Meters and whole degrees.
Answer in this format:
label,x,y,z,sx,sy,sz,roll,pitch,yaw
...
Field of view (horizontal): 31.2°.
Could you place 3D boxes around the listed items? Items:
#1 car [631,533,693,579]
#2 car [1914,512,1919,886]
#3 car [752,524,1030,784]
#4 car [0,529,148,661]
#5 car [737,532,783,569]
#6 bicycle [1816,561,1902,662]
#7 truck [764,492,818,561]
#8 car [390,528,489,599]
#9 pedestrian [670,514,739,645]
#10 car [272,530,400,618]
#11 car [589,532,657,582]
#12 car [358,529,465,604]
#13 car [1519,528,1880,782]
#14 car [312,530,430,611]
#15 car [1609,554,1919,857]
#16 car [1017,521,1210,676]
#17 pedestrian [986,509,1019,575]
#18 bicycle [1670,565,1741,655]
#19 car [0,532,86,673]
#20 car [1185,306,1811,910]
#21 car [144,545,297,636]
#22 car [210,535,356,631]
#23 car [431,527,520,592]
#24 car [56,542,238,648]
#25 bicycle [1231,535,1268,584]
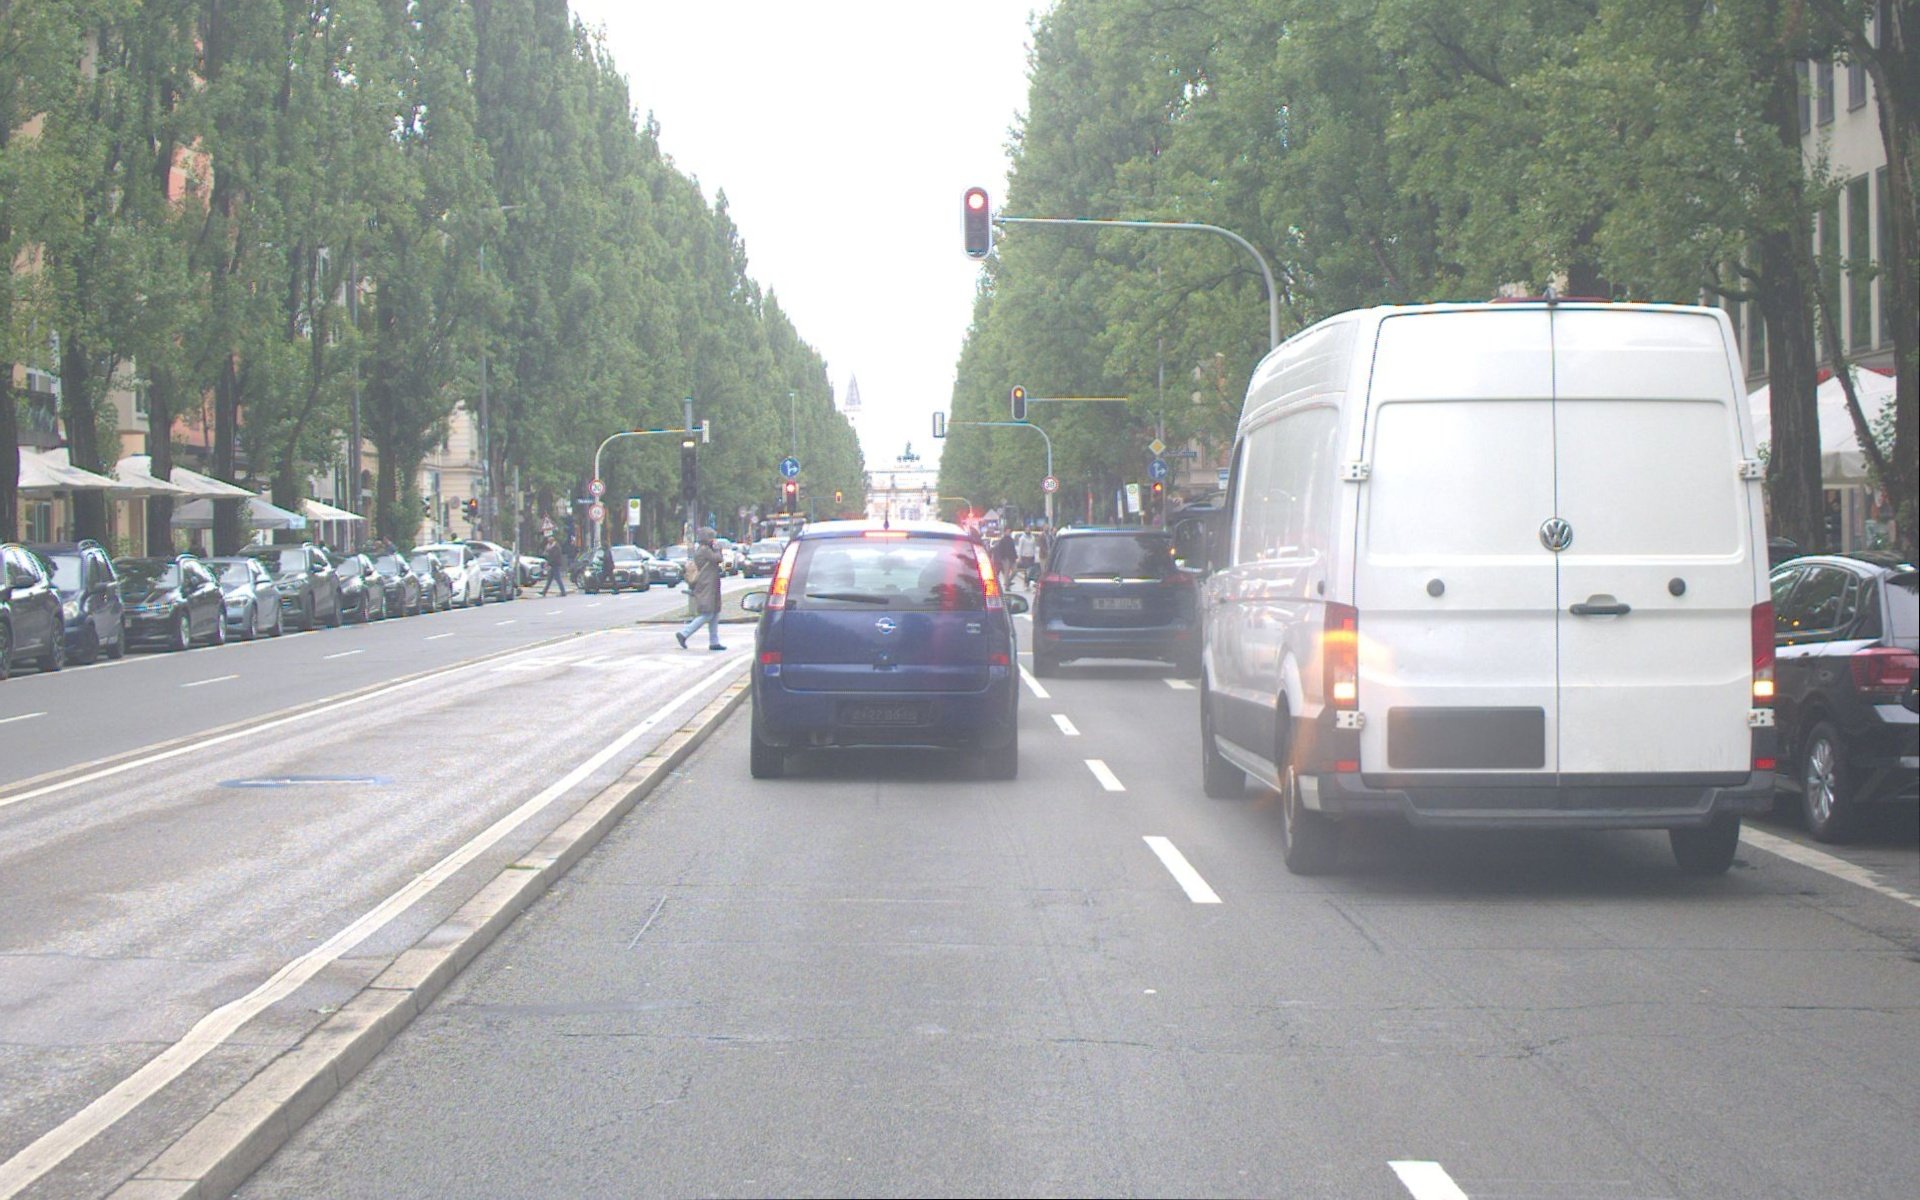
label,x,y,z,sx,sy,sz,roll,pitch,yaw
car,-10.035,-1.492,115.915,1.745,1.429,4.130,-2,1,-1
car,5.181,0.477,12.880,1.803,1.632,4.448,0,1,-2
car,-0.439,0.283,22.711,1.671,1.563,4.000,0,1,-1
car,-12.590,-0.098,48.079,1.709,1.715,3.923,-2,1,-4
car,-8.188,-2.052,141.147,1.735,1.460,3.365,-1,1,-1
bicycle,9.092,0.109,34.805,0.349,0.992,1.455,-2,1,-4
truck,-8.346,-3.635,170.344,2.383,3.335,7.111,-1,1,-1
car,-13.084,-0.930,86.564,1.866,1.660,4.120,-2,1,-1
pedestrian,-3.302,-0.275,44.533,0.859,1.678,0.627,-1,1,-4
car,-12.807,-0.563,70.784,1.866,1.660,4.120,-2,1,-1
car,-10.527,-1.365,107.612,1.697,1.457,4.713,-2,1,-1
car,-12.932,-0.811,81.304,1.866,1.660,4.120,-2,1,-1
car,4.683,0.305,22.108,1.592,1.513,2.730,1,1,-3
car,-12.948,-0.670,75.778,1.866,1.660,4.120,-2,1,-1
car,4.892,0.466,18.329,1.709,1.388,4.344,0,1,-5
car,1.639,-0.063,37.898,1.896,1.616,4.000,0,1,-1
pedestrian,1.184,-1.610,95.564,0.719,1.820,0.888,1,1,-11
bicycle,8.406,0.103,38.807,0.349,0.992,1.455,-2,1,-4
car,-12.389,0.031,42.716,1.866,1.658,4.611,-2,1,-1
car,2.434,-0.041,17.520,2.063,2.484,6.731,0,1,-1
car,-12.622,-0.191,58.898,1.733,1.421,4.144,-2,1,-1
car,-12.698,-0.355,64.732,1.866,1.660,4.401,-2,1,-1
car,-13.197,-1.122,93.838,1.866,1.660,4.120,-2,1,-1
car,-12.569,-0.109,53.422,1.798,1.483,4.351,-2,1,-1
bicycle,8.201,-1.154,97.451,0.772,1.344,2.449,-1,1,-1
